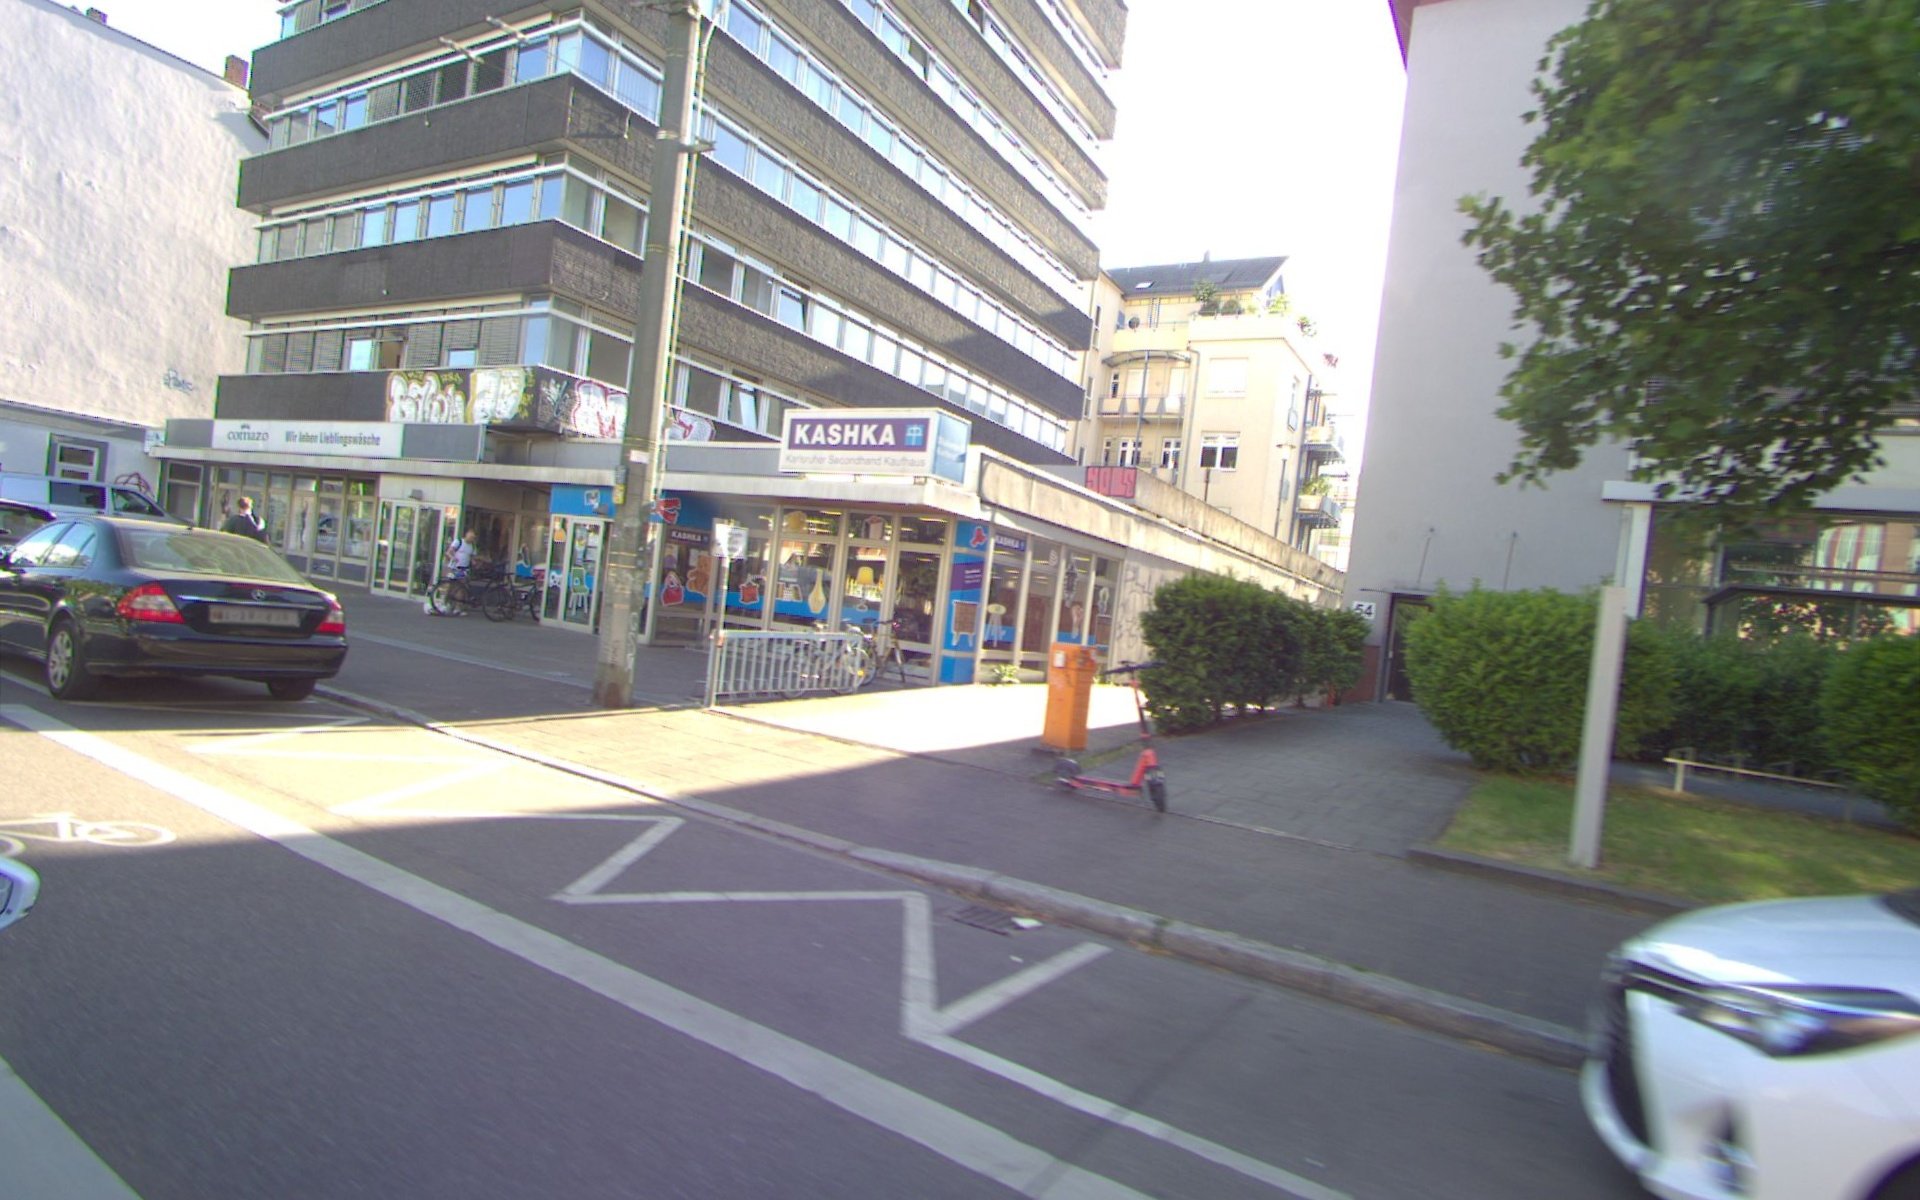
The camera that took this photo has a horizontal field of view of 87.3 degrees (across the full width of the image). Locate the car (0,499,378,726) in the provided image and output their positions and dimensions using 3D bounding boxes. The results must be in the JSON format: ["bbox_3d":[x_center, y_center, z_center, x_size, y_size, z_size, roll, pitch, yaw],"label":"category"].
[{"bbox_3d":[-7.459,0.014,9.136,4.474,1.474,1.714,7,-1,31],"label":"car"}]

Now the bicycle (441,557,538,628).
[{"bbox_3d":[-9.197,-0.149,19.784,0.790,1.234,2.180,7,1,-1],"label":"bicycle"}]

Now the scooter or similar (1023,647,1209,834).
[{"bbox_3d":[1.259,1.099,8.279,1.339,1.253,0.536,8,6,40],"label":"scooter or similar"}]

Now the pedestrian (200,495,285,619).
[{"bbox_3d":[-11.368,-0.684,15.948,0.875,1.835,0.721,8,2,35],"label":"pedestrian"}]

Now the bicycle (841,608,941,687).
[{"bbox_3d":[-1.076,0.749,16.289,0.581,1.139,2.204,8,2,23],"label":"bicycle"}]

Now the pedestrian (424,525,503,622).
[{"bbox_3d":[-9.919,-0.527,20.089,1.146,1.751,1.034,6,2,-34],"label":"pedestrian"}]

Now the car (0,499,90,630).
[{"bbox_3d":[-12.420,-0.581,12.414,3.255,1.464,1.581,6,-1,32],"label":"car"}]

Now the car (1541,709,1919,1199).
[{"bbox_3d":[3.727,1.302,2.435,3.818,1.460,1.606,7,-2,29],"label":"car"}]

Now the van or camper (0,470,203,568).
[{"bbox_3d":[-23.268,-2.133,26.714,1.956,2.165,4.640,7,3,35],"label":"van or camper"}]

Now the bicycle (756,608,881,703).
[{"bbox_3d":[-1.886,0.765,13.630,0.569,1.155,1.681,7,1,35],"label":"bicycle"}]
